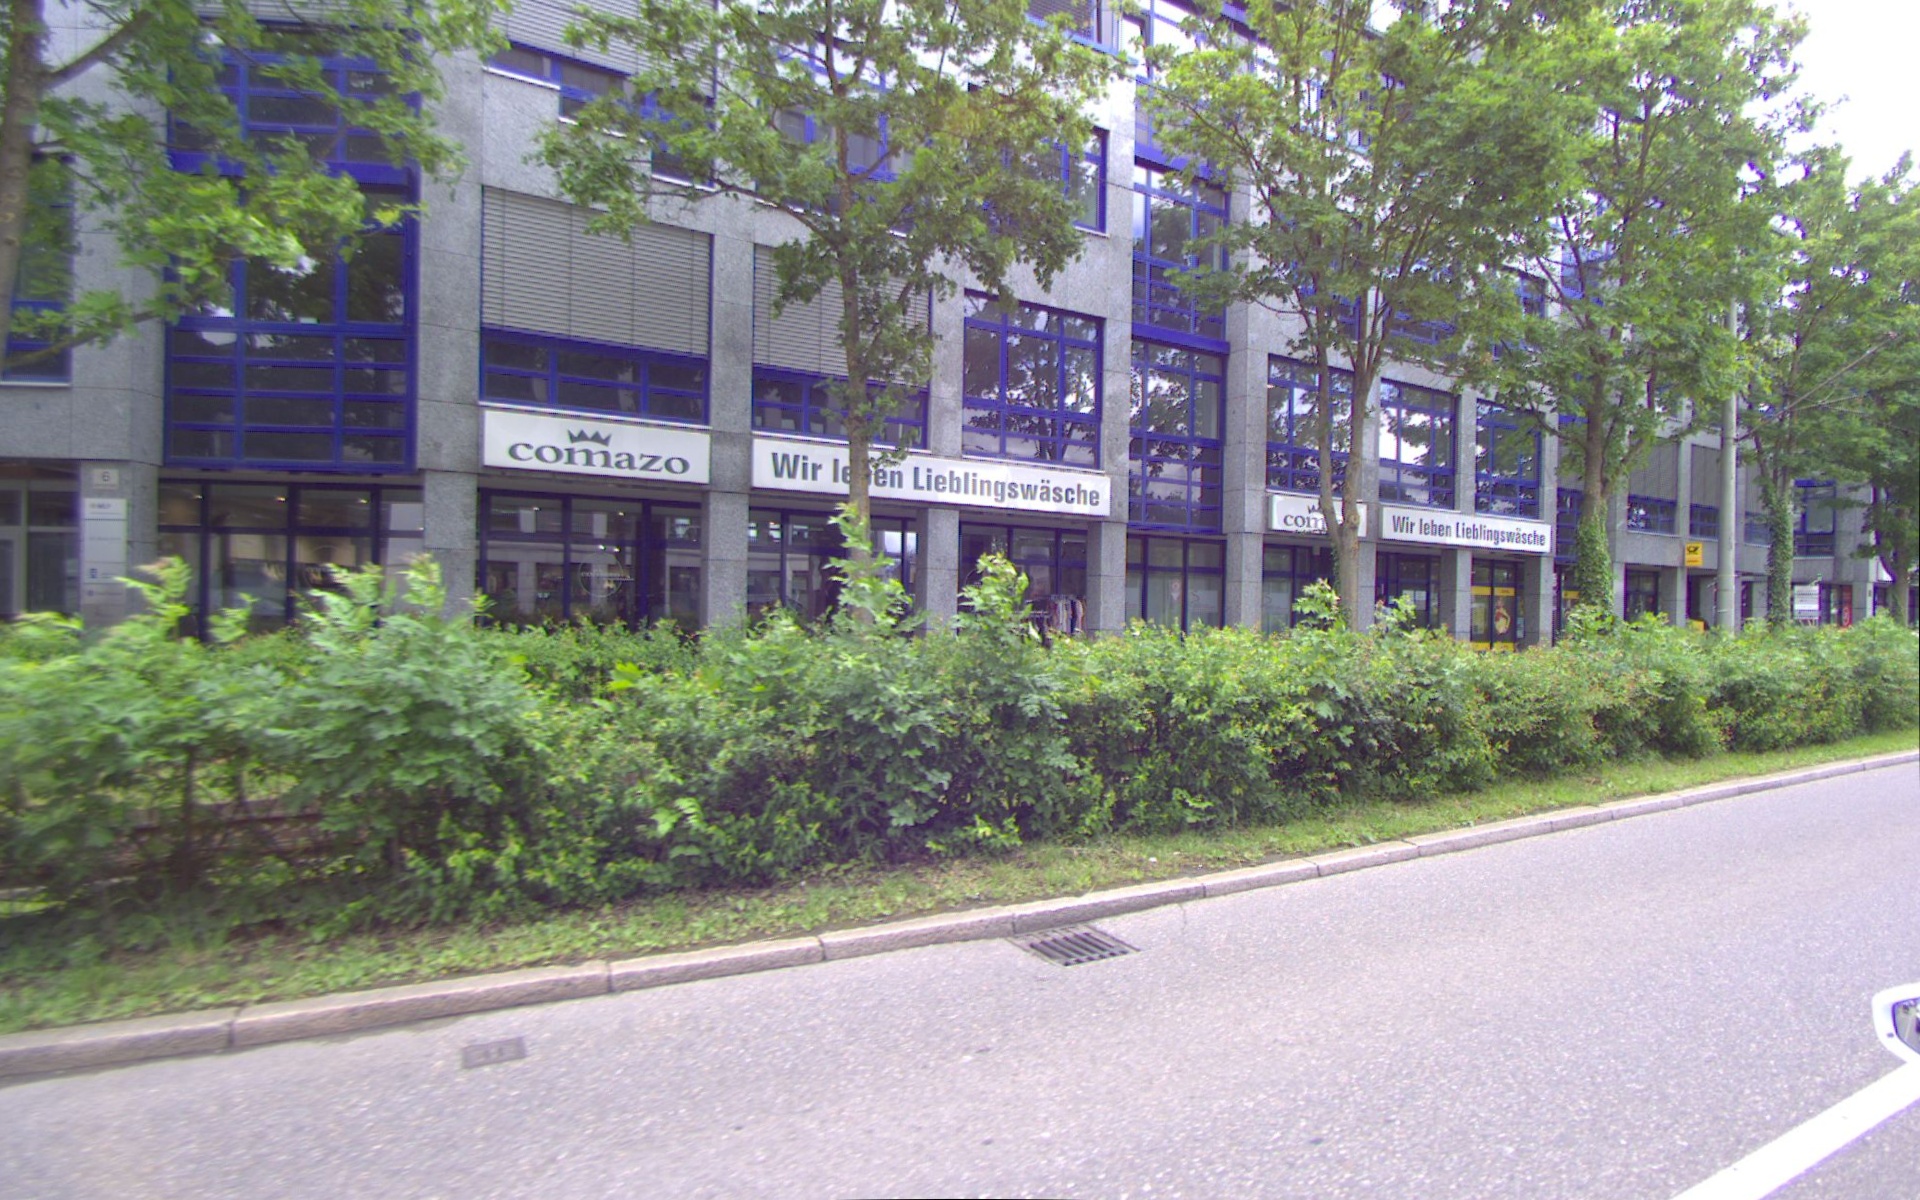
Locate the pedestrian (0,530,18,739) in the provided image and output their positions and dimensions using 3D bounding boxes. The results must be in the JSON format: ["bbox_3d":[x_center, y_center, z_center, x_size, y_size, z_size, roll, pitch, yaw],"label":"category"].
[{"bbox_3d":[-9.264,0.320,9.203,0.723,1.949,0.809,2,0,-31],"label":"pedestrian"}]

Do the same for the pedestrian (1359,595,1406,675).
[{"bbox_3d":[10.452,0.861,24.851,0.723,1.919,0.770,2,0,-31],"label":"pedestrian"}]
